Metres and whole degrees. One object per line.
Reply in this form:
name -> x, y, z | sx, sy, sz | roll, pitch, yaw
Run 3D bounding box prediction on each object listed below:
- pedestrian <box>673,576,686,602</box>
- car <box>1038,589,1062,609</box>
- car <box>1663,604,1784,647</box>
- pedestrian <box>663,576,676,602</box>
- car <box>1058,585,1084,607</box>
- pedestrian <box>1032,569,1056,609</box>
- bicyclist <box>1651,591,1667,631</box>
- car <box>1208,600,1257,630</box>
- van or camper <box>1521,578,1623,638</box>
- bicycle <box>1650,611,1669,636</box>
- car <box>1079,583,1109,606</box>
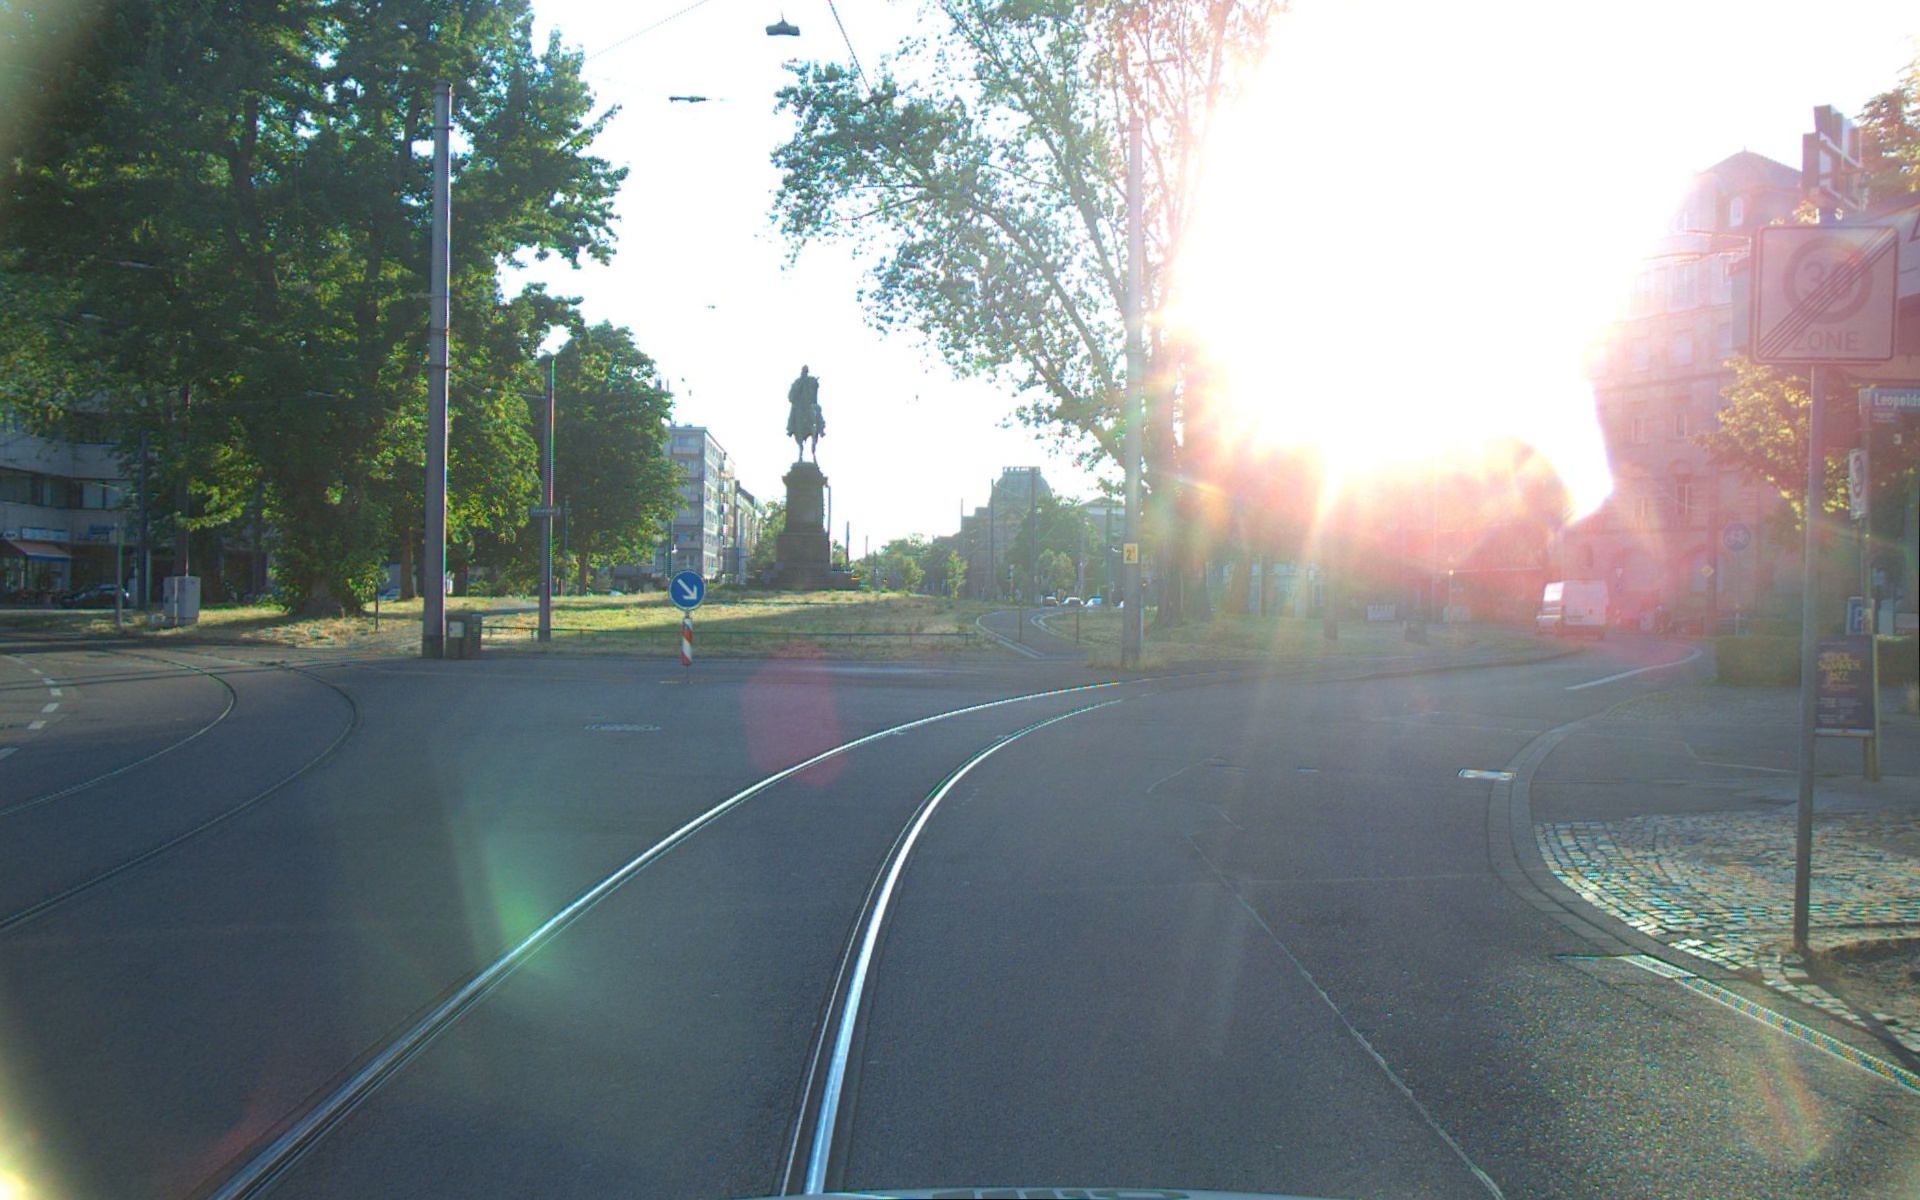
pedestrian -> -17.293, -0.675, 101.993 | 0.755, 1.634, 0.637 | 0, 0, -11
car -> 9.642, -0.117, 178.300 | 2.096, 2.049, 3.997 | 1, 0, -4
car -> 34.519, 1.118, 74.860 | 4.681, 1.792, 1.811 | 1, 0, 40
pedestrian -> -18.044, -0.687, 102.650 | 0.755, 1.634, 0.637 | 0, 0, -11
car -> 11.096, -0.415, 165.420 | 2.096, 2.049, 3.997 | 1, 0, -4
pedestrian -> 3.455, -0.450, 67.998 | 0.627, 1.634, 0.766 | 1, 0, 43
bicyclist -> 29.057, 0.447, 68.742 | 0.498, 1.671, 0.776 | 1, 0, 17
car -> 18.708, 1.023, 113.736 | 1.960, 2.004, 3.986 | 0, 1, -14
van or camper -> 26.854, 0.289, 72.814 | 2.552, 2.515, 6.324 | 0, 1, 4
bicycle -> 29.086, 0.962, 68.780 | 0.498, 0.995, 2.243 | 1, 0, 17
car -> 12.251, -0.522, 151.165 | 2.096, 2.049, 3.997 | 1, 0, -4
